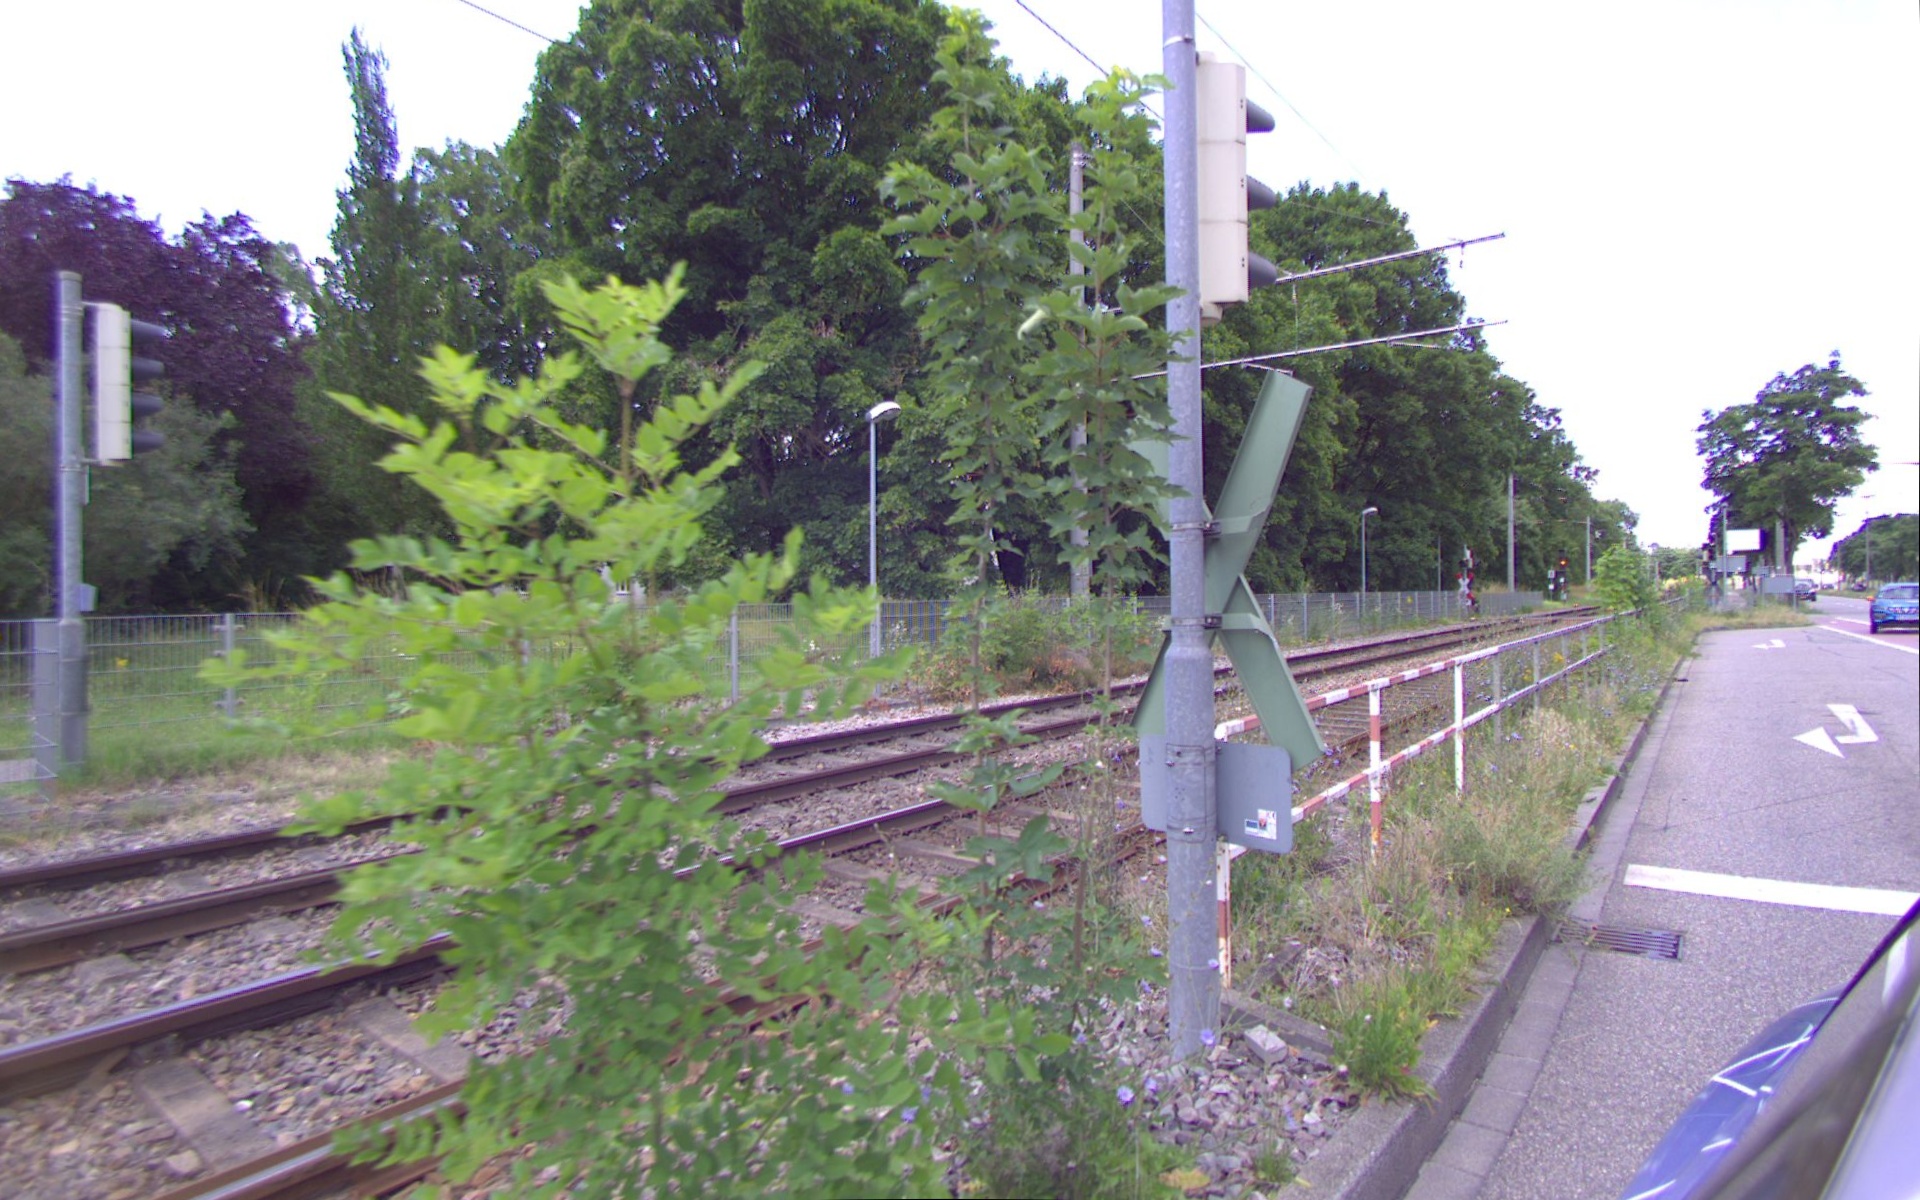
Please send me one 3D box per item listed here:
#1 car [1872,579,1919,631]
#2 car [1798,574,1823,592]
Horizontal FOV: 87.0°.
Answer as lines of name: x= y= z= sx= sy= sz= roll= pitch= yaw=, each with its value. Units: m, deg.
car: x=28.382 y=0.113 z=30.111 sx=1.597 sy=1.482 sz=3.652 roll=0 pitch=1 yaw=39
car: x=79.570 y=-1.630 z=94.685 sx=1.719 sy=1.634 sz=3.944 roll=-1 pitch=1 yaw=39
